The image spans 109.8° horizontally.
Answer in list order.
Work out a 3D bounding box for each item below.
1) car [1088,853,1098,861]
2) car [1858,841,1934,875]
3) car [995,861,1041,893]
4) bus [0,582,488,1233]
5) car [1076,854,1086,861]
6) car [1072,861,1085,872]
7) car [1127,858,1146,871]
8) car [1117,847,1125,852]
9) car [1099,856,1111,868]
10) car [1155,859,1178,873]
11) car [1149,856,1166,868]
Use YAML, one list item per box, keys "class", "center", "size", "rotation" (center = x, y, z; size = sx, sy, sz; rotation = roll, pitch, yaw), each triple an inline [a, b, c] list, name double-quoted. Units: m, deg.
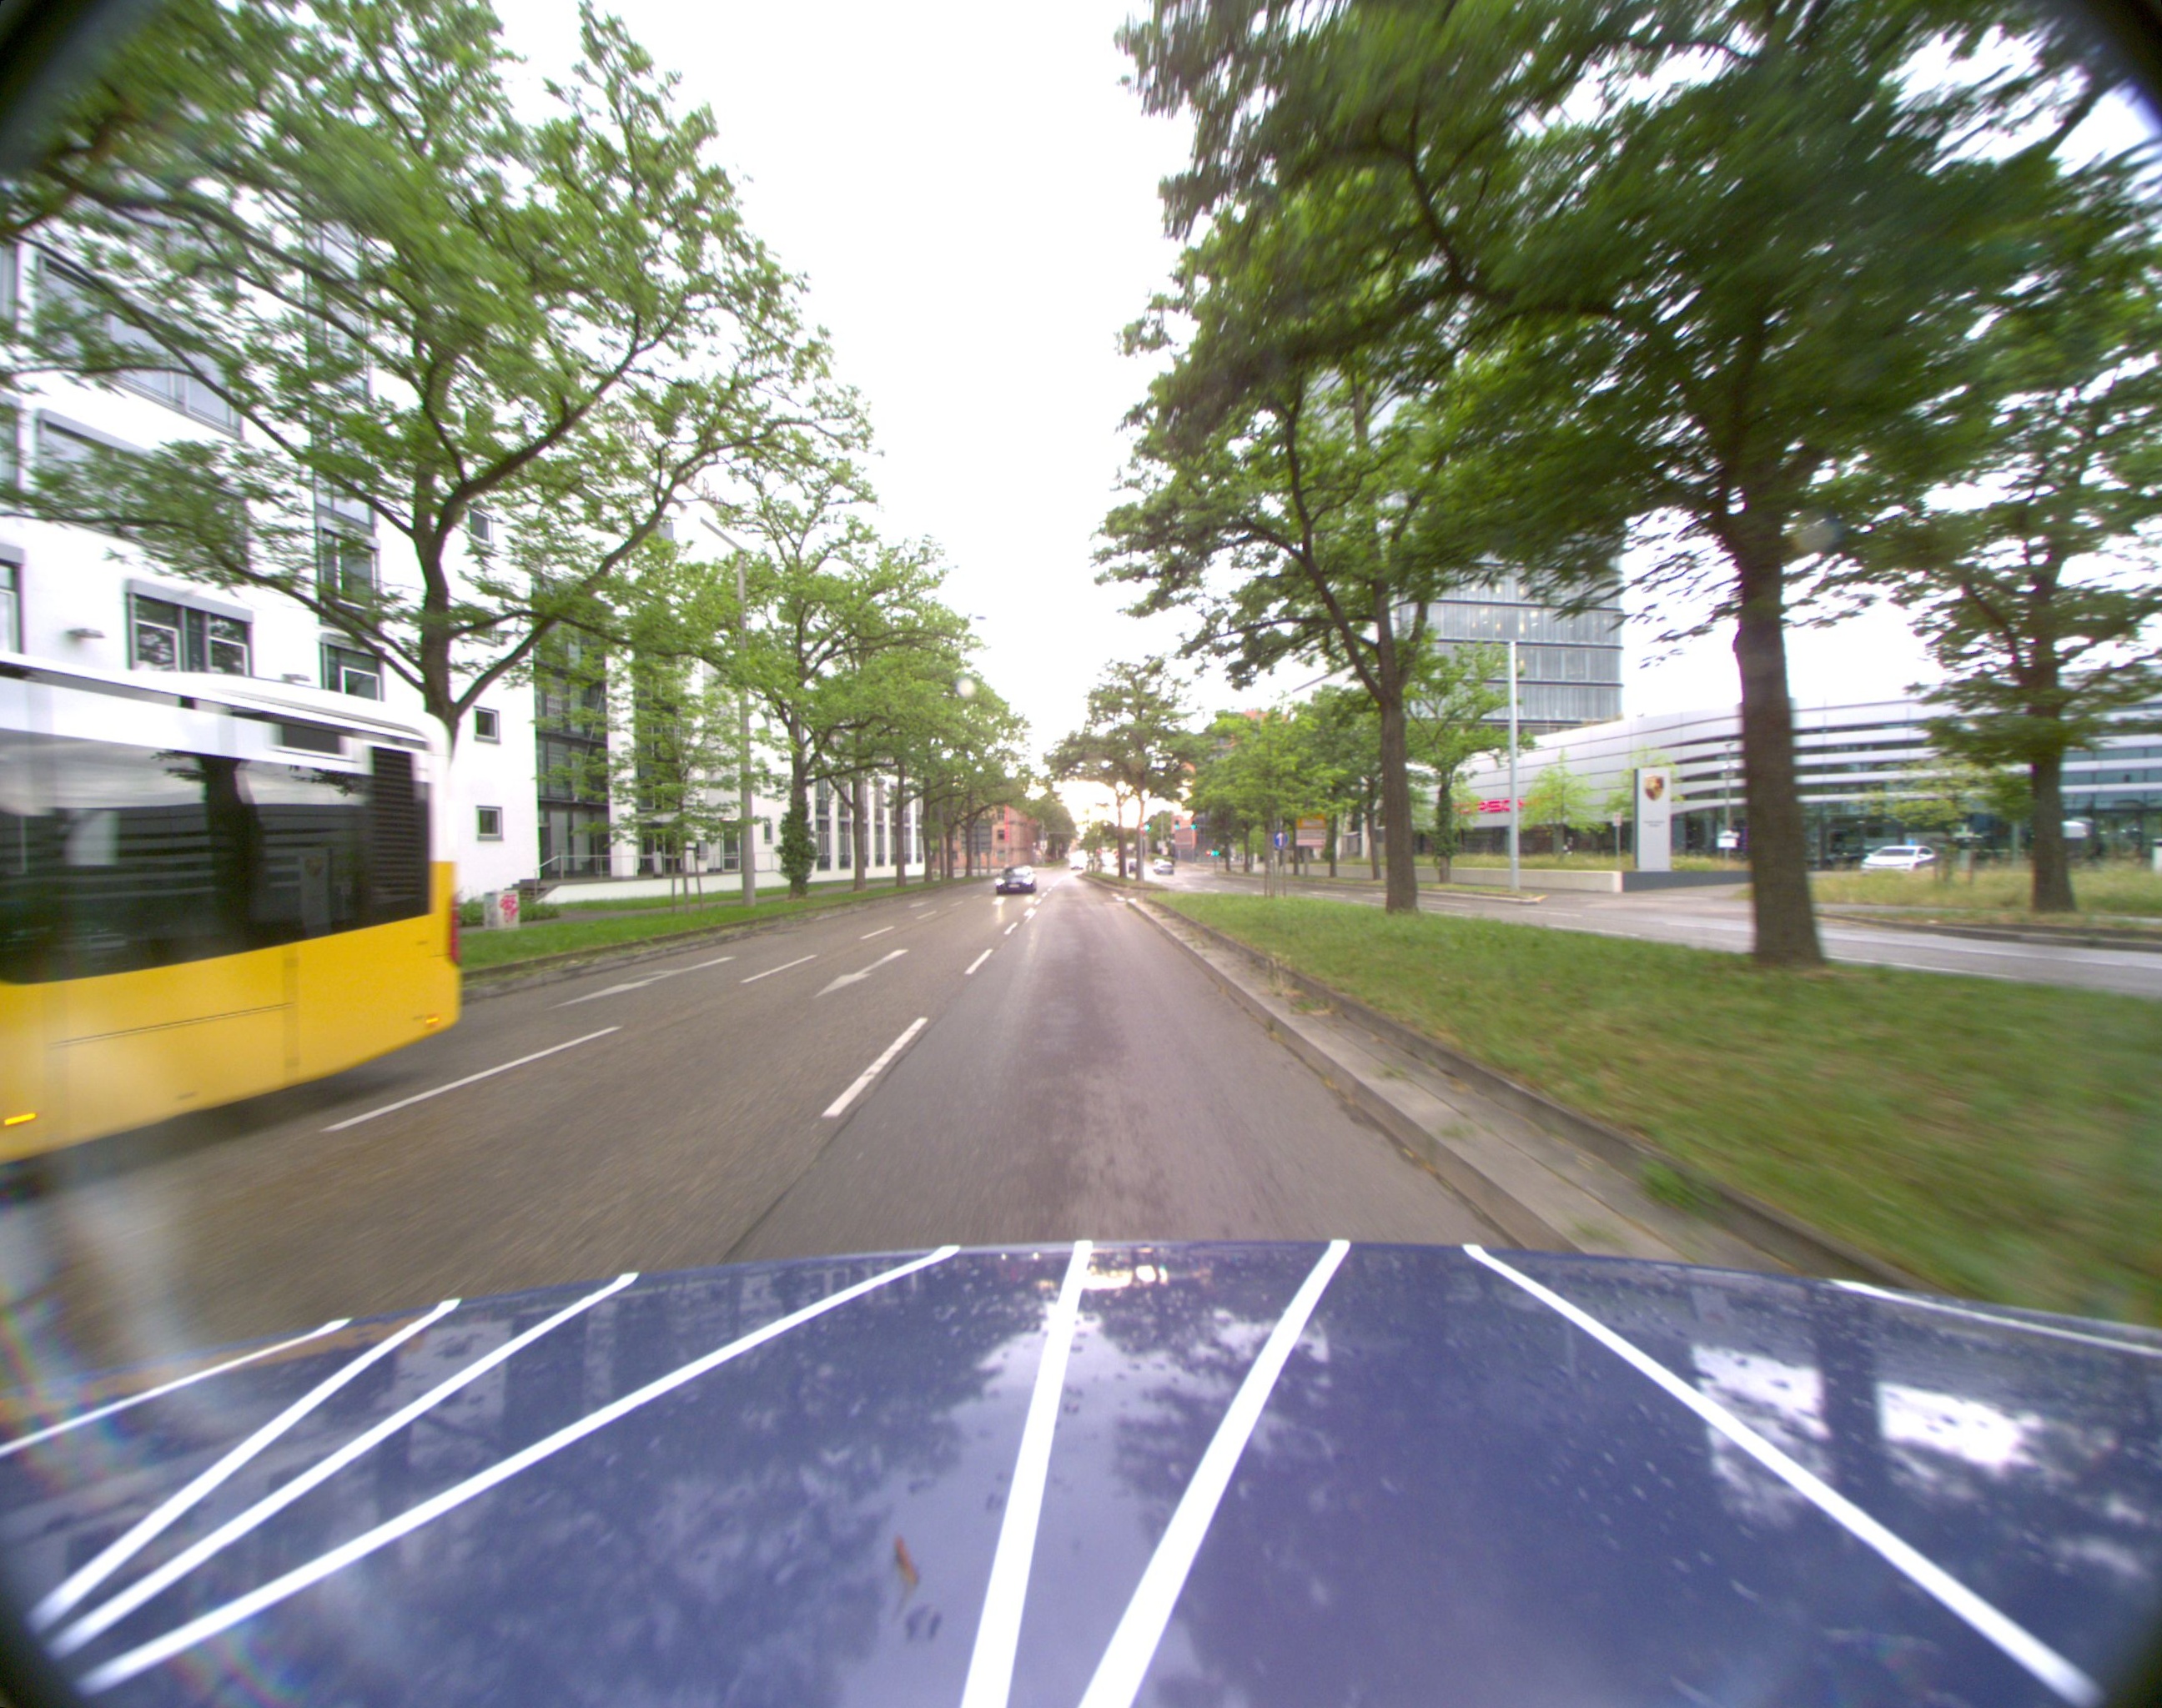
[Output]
- class: "car"
  center: [2.527, 0.576, 157.899]
  size: [1.998, 1.707, 4.000]
  rotation: [-1, 0, 1]
- class: "car"
  center: [39.284, 0.178, 36.609]
  size: [4.006, 1.405, 1.774]
  rotation: [-3, 1, -33]
- class: "car"
  center: [-3.148, 1.145, 38.931]
  size: [1.878, 1.346, 4.331]
  rotation: [-3, 1, 1]
- class: "bus"
  center: [-6.624, 0.284, 0.445]
  size: [2.733, 3.133, 12.146]
  rotation: [-3, 0, 1]
- class: "car"
  center: [-0.005, 0.754, 173.948]
  size: [1.998, 1.575, 4.000]
  rotation: [-1, 0, 1]
- class: "car"
  center: [-0.326, 1.780, 112.518]
  size: [1.625, 1.426, 3.551]
  rotation: [-3, 1, 4]
- class: "car"
  center: [6.907, 1.268, 94.840]
  size: [1.846, 1.581, 4.172]
  rotation: [0, 1, -2]
- class: "car"
  center: [10.803, -1.185, 203.639]
  size: [1.783, 1.445, 3.999]
  rotation: [-3, 1, -2]
- class: "car"
  center: [4.053, 1.342, 128.730]
  size: [1.998, 2.002, 4.000]
  rotation: [-1, 0, 1]
- class: "car"
  center: [9.737, 1.354, 86.773]
  size: [1.894, 1.445, 3.999]
  rotation: [-3, 1, -2]
- class: "car"
  center: [10.351, 1.093, 102.930]
  size: [1.783, 1.445, 3.999]
  rotation: [-3, 1, -2]
